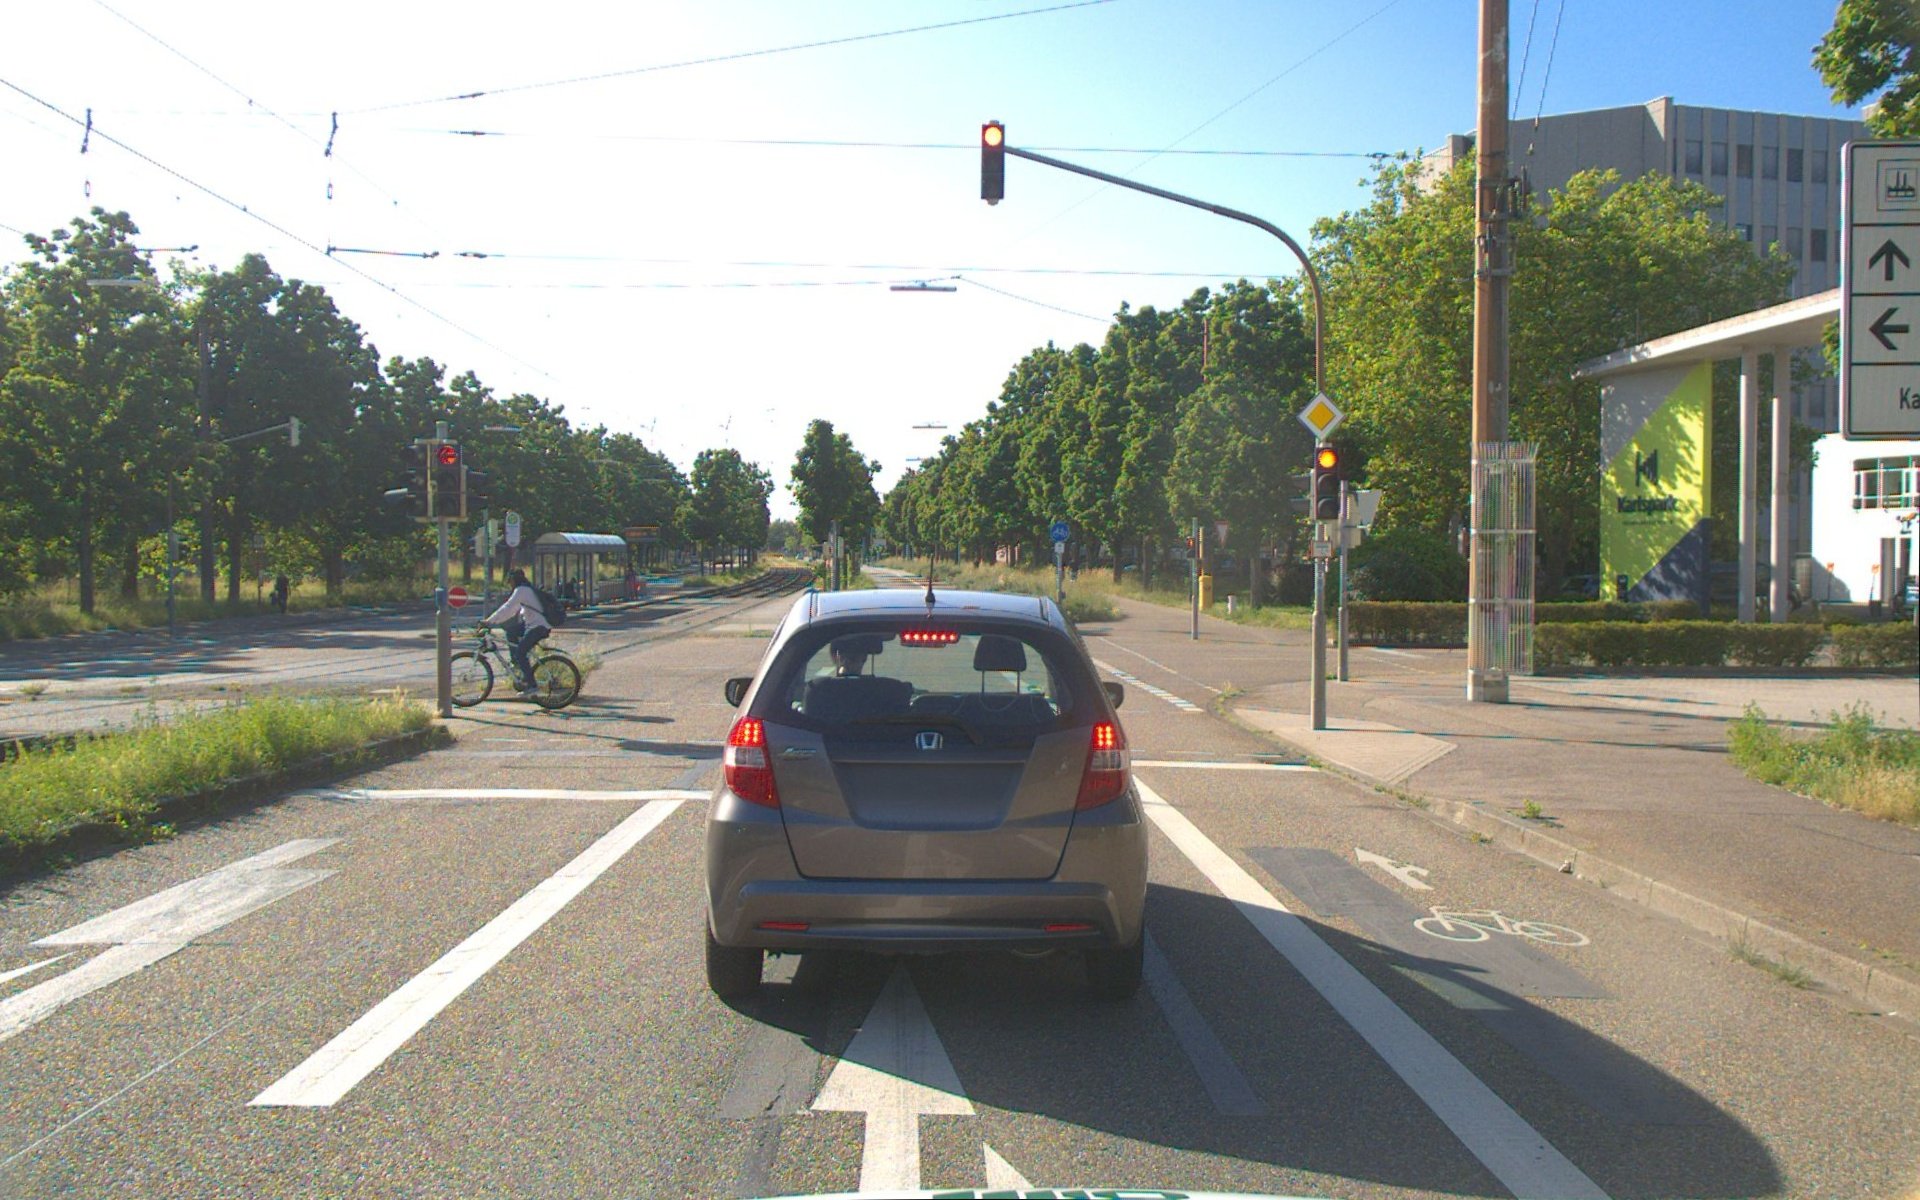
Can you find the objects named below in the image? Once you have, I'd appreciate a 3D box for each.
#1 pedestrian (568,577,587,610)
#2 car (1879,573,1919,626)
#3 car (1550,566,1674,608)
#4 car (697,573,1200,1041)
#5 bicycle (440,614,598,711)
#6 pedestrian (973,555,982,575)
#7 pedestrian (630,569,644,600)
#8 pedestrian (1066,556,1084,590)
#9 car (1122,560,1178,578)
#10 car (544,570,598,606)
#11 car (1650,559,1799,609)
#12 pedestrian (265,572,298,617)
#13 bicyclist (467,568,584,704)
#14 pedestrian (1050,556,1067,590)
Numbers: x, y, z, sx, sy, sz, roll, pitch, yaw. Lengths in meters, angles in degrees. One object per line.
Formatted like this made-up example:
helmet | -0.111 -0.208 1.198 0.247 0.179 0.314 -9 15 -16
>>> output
pedestrian | -15.095 -0.264 65.302 0.552 1.279 0.580 -2 0 -2
car | 30.634 -0.021 50.740 3.914 1.605 1.950 0 1 -10
car | 26.635 -0.547 67.608 4.371 1.715 1.892 0 1 -7
car | -0.063 0.689 7.382 1.666 1.550 3.709 1 0 -1
bicycle | -5.466 0.765 20.563 1.739 1.121 0.698 2 0 -2
pedestrian | 1.532 -2.964 141.090 0.710 1.720 0.820 0 -1 -3
pedestrian | -15.586 -0.765 79.856 0.533 1.473 0.559 -1 0 -1
pedestrian | 6.542 -1.545 94.239 0.865 1.917 0.875 0 1 -5
car | 16.615 -2.739 144.825 4.543 1.582 1.997 -1 1 -7
car | -22.068 -0.703 93.977 2.052 1.841 4.791 -2 2 -3
car | 28.025 -0.612 60.682 4.803 1.787 2.083 0 1 -16
pedestrian | -26.610 -0.229 64.877 0.744 1.764 0.936 0 1 27
bicyclist | -5.379 0.436 20.554 1.208 1.621 0.805 2 0 -2
pedestrian | 5.620 -1.563 94.295 0.865 1.917 0.875 0 1 -5
